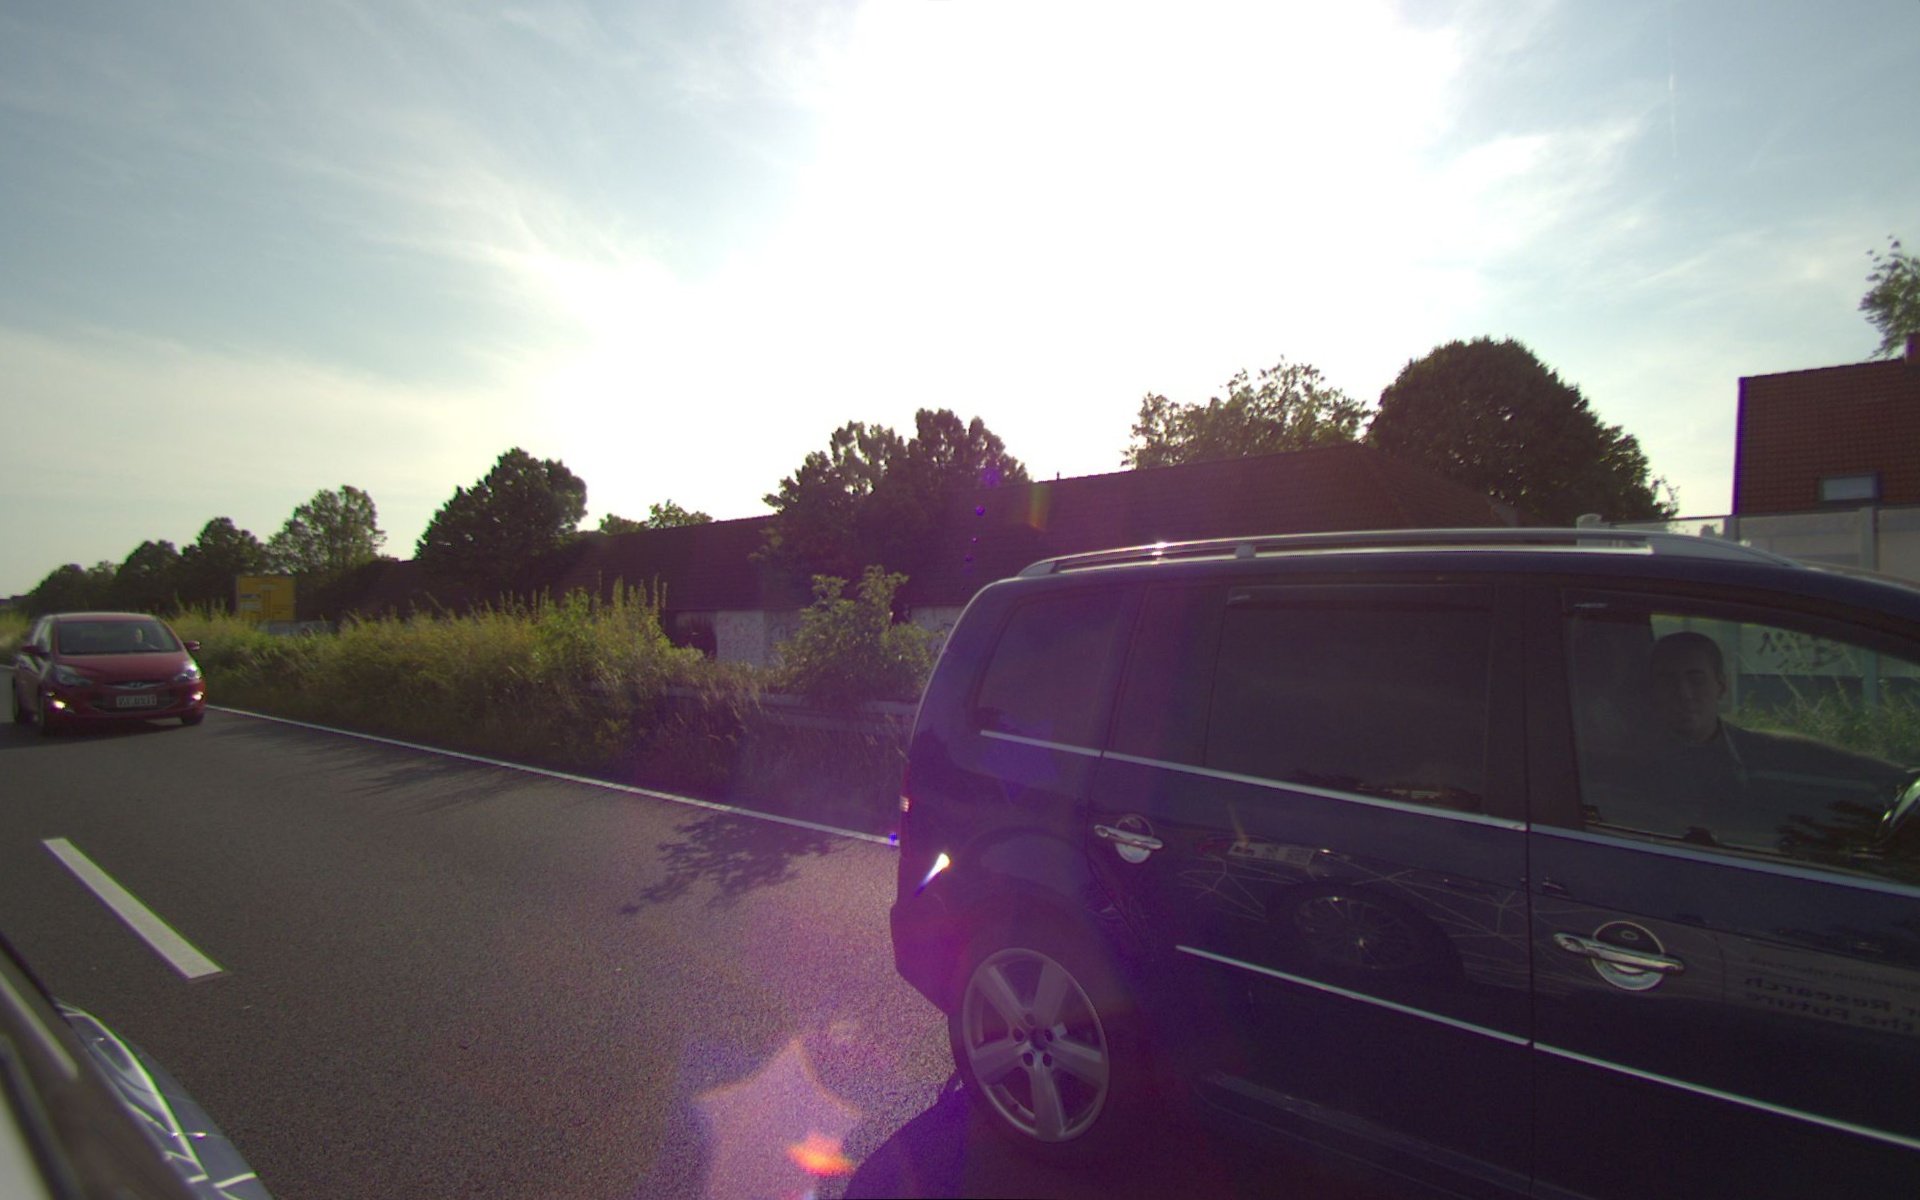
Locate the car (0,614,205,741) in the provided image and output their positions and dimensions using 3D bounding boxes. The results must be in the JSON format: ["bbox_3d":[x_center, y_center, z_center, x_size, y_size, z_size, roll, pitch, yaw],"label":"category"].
[{"bbox_3d":[-12.463,1.003,14.603,3.998,1.557,1.726,-1,0,41],"label":"car"}]

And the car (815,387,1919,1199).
[{"bbox_3d":[1.862,0.505,2.324,4.680,1.634,1.754,-1,-1,42],"label":"car"}]
